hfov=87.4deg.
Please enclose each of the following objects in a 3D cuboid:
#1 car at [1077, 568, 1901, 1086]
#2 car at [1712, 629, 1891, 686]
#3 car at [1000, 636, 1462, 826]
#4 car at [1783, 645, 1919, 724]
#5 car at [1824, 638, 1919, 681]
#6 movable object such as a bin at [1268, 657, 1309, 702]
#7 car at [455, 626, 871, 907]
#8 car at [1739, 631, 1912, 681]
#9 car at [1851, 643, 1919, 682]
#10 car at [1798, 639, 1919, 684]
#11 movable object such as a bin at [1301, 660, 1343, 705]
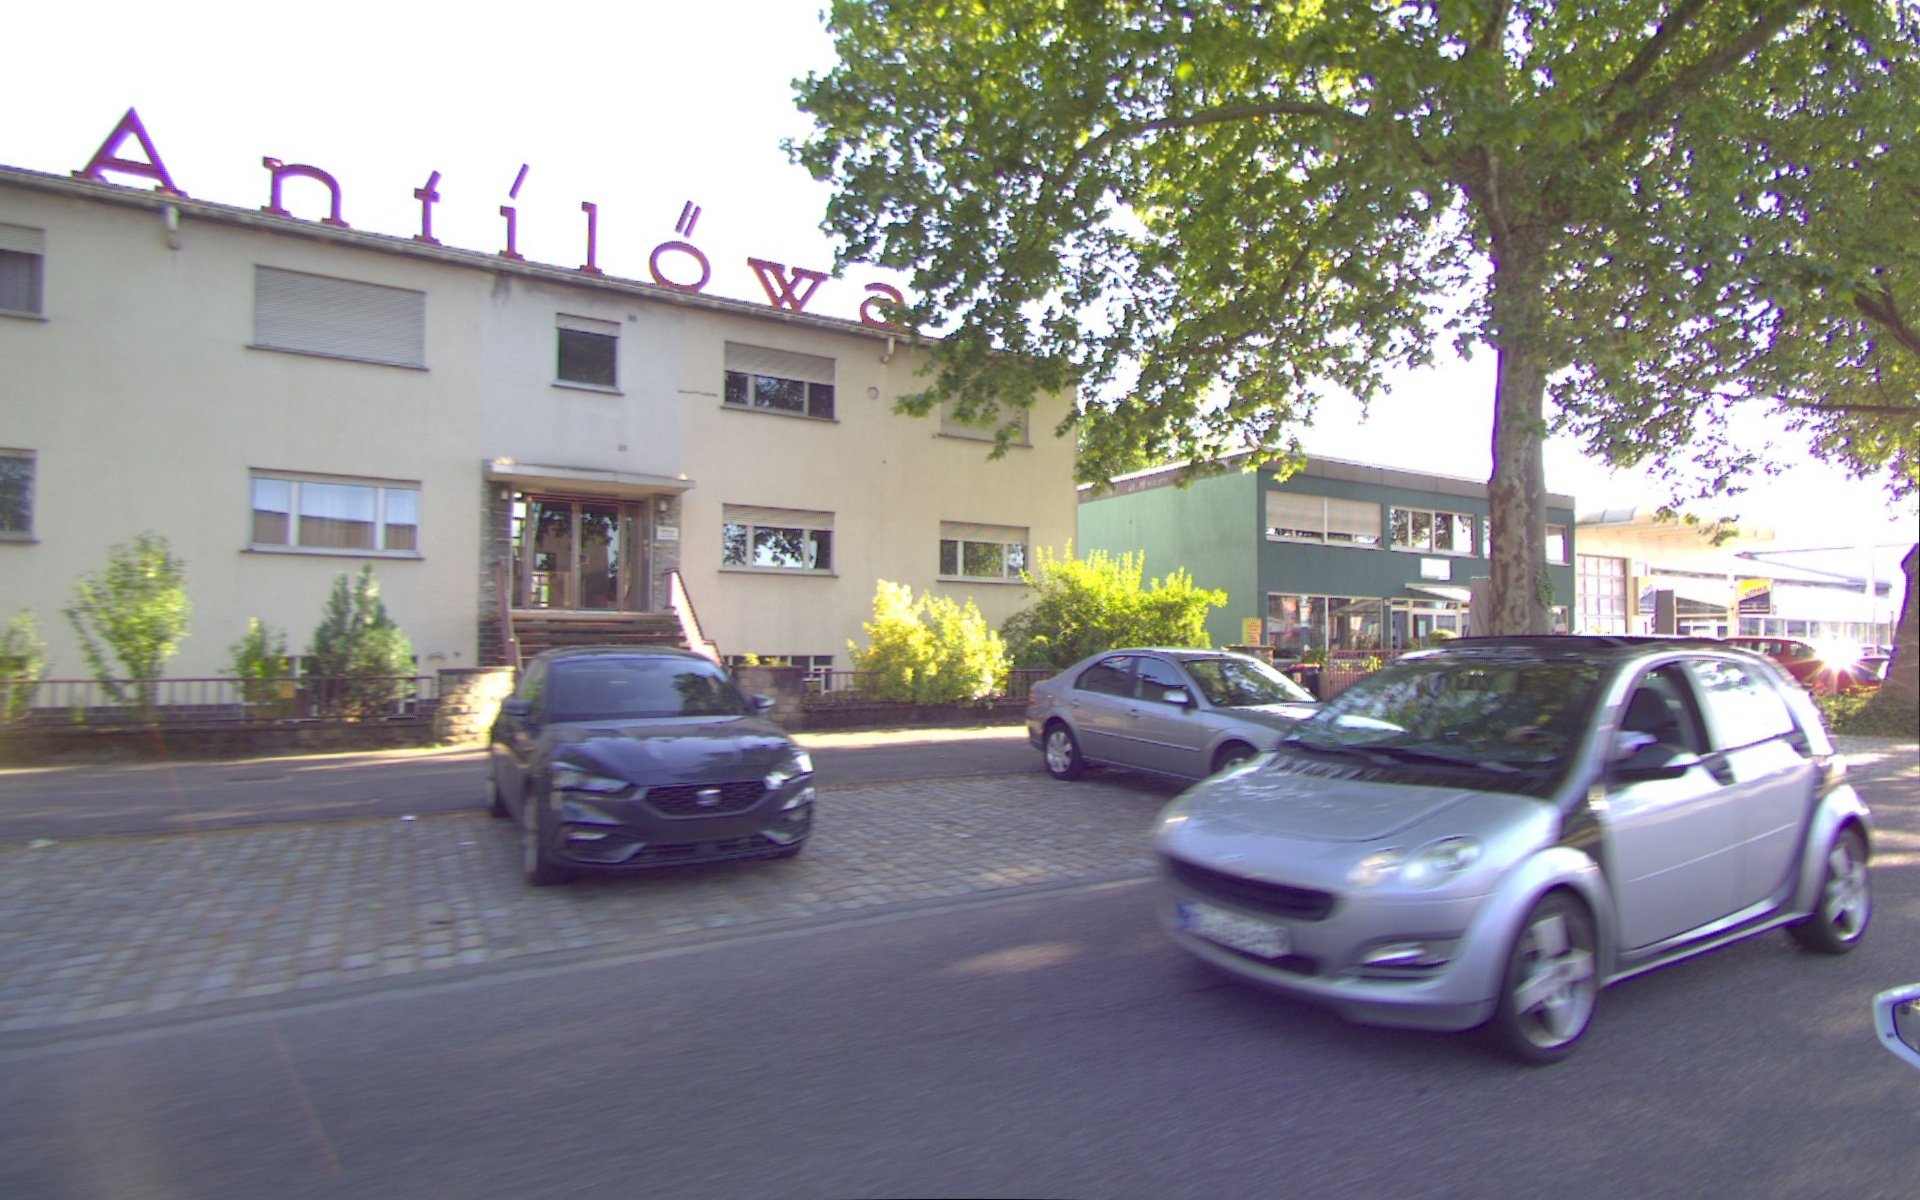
[{"bbox_3d":[2.613,0.823,4.874,3.758,1.591,1.830,3,-4,-30],"label":"car"},{"bbox_3d":[31.128,2.085,37.322,1.977,1.843,4.722,3,-1,-31],"label":"car"},{"bbox_3d":[2.455,1.118,10.366,1.976,1.441,4.579,1,-2,-30],"label":"car"},{"bbox_3d":[19.685,1.754,20.314,1.977,1.465,4.276,3,-1,-30],"label":"car"},{"bbox_3d":[39.648,2.523,42.260,1.907,1.613,4.638,3,-1,-31],"label":"car"},{"bbox_3d":[8.475,2.041,25.921,0.629,1.114,0.786,2,-1,-30],"label":"movable object such as a bin"},{"bbox_3d":[-2.525,0.941,7.615,1.978,1.441,4.331,2,-2,-31],"label":"car"},{"bbox_3d":[33.366,2.136,38.880,1.977,1.655,4.689,3,-1,-31],"label":"car"},{"bbox_3d":[41.875,2.769,43.601,1.815,1.574,4.441,3,-1,-31],"label":"car"},{"bbox_3d":[37.573,2.507,41.056,1.977,1.664,4.694,3,-1,-31],"label":"car"},{"bbox_3d":[9.293,2.110,25.794,0.629,1.114,0.786,2,-1,-30],"label":"movable object such as a bin"}]
